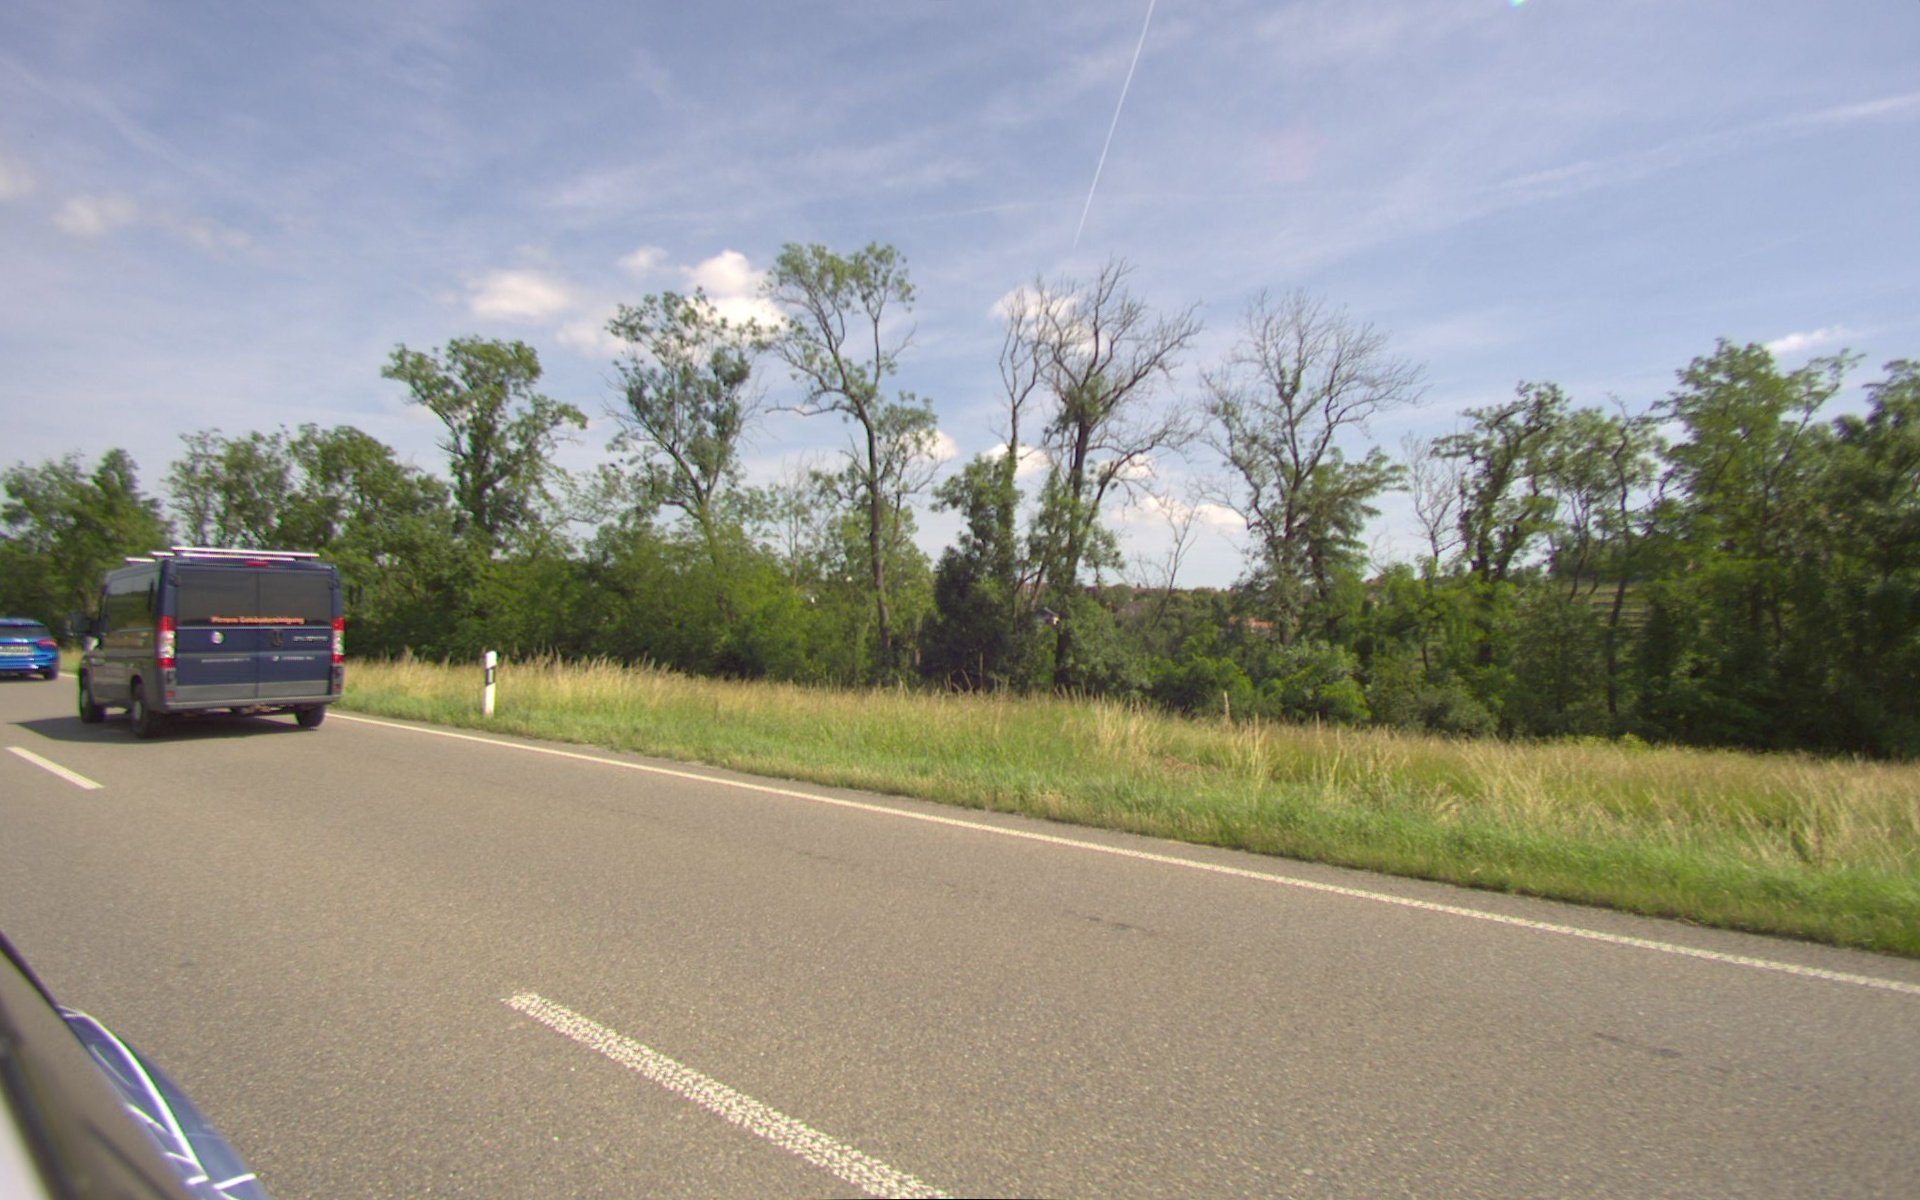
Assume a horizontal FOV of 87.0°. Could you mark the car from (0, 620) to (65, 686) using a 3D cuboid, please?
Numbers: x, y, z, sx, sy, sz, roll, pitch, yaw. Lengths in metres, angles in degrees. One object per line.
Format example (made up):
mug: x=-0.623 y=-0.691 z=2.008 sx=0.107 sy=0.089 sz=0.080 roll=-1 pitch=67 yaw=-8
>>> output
car: x=-23.205 y=1.228 z=24.276 sx=4.353 sy=1.497 sz=1.845 roll=-1 pitch=-2 yaw=38

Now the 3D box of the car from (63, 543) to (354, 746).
car: x=-10.537 y=0.581 z=14.046 sx=4.903 sy=2.321 sz=2.148 roll=-1 pitch=-3 yaw=40
